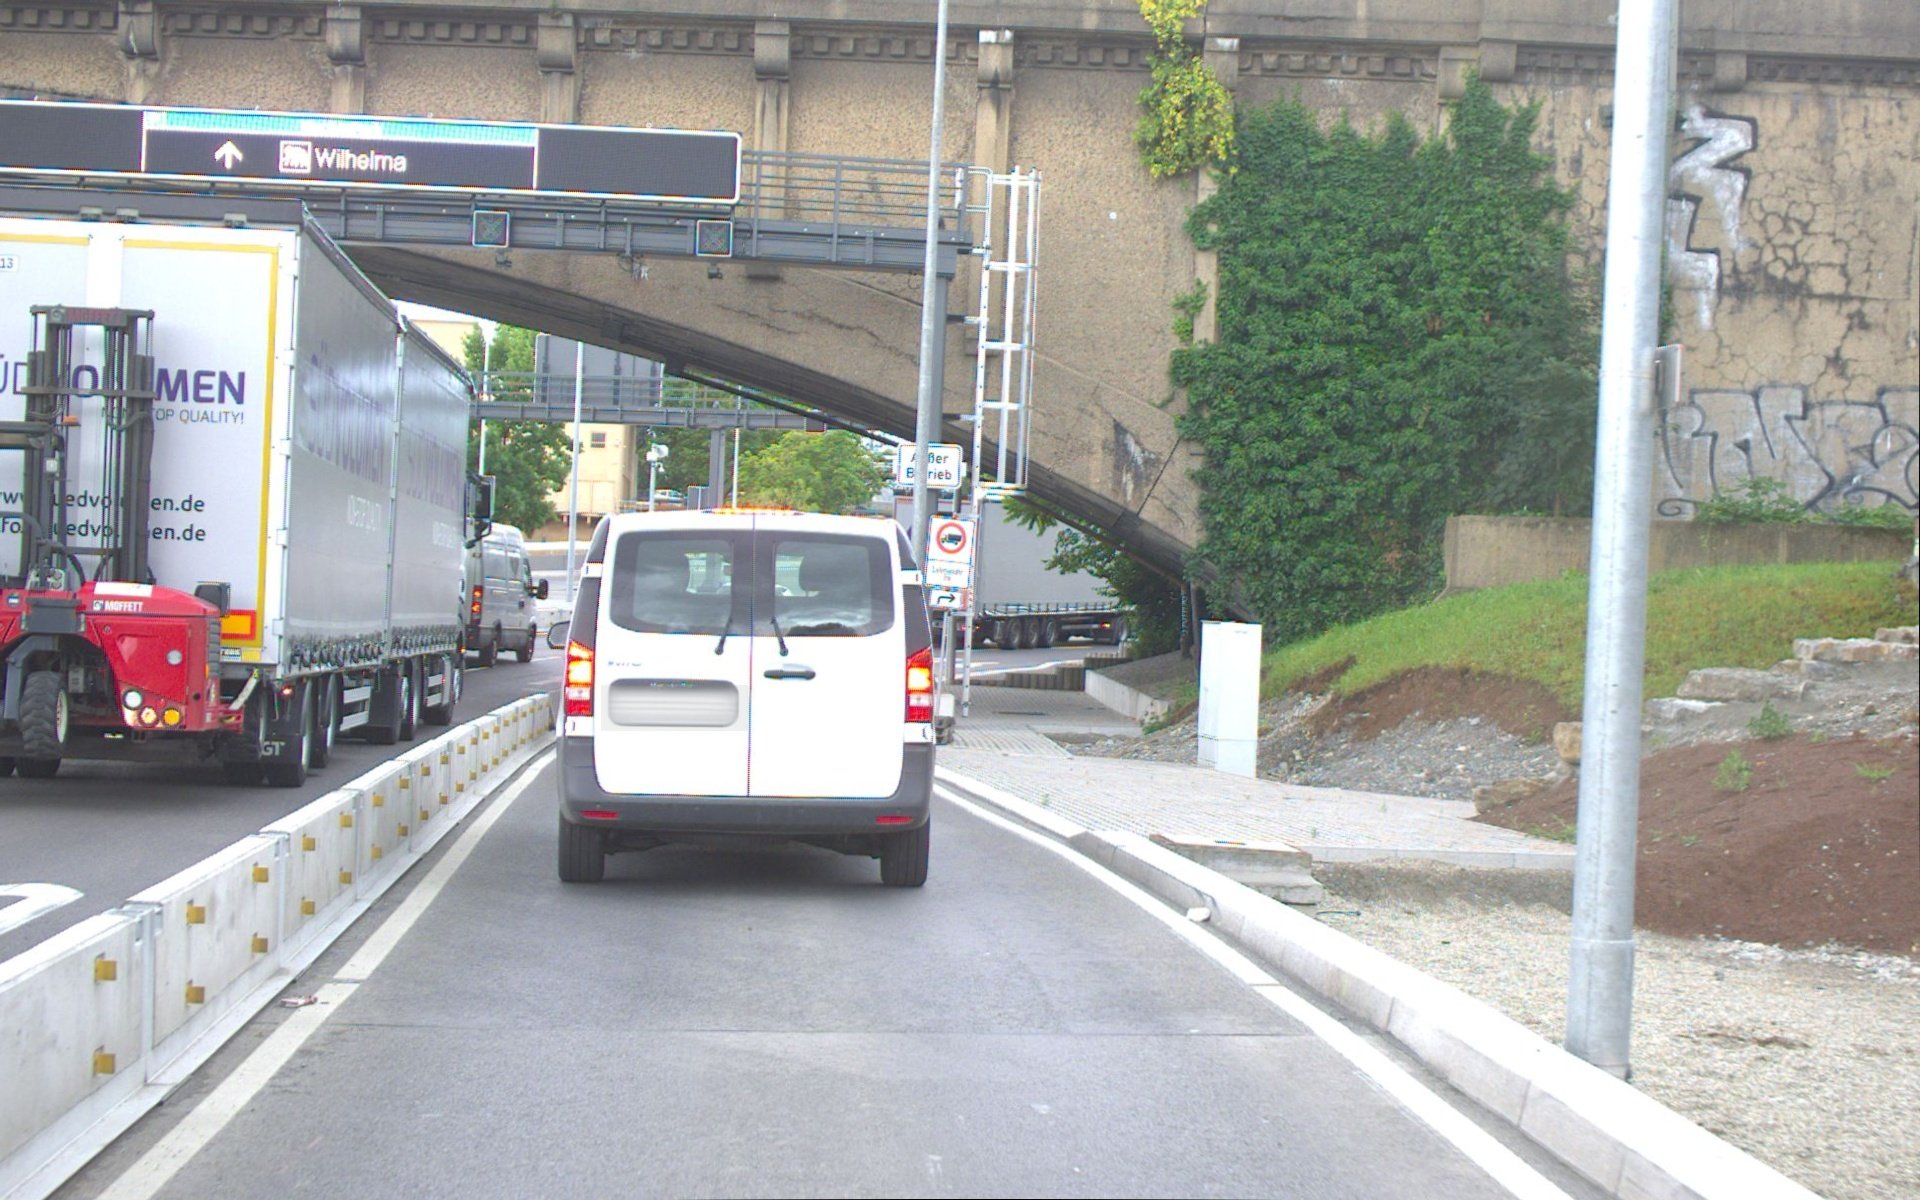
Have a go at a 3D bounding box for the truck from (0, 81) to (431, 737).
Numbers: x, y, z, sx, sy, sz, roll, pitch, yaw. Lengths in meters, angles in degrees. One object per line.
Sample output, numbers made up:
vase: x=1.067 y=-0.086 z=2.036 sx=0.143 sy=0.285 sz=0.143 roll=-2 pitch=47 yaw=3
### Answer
truck: x=-6.149 y=-1.196 z=26.520 sx=2.917 sy=4.003 sz=10.201 roll=3 pitch=-1 yaw=-3

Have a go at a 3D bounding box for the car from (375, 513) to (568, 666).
car: x=-8.882 y=-0.201 z=62.995 sx=1.994 sy=2.533 sz=5.172 roll=5 pitch=1 yaw=8

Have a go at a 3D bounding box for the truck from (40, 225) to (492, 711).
truck: x=-6.950 y=-1.142 z=36.300 sx=2.987 sy=4.162 sz=11.241 roll=3 pitch=-1 yaw=-4

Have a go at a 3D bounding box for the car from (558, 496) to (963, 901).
car: x=-1.132 y=0.464 z=18.689 sx=1.876 sy=1.884 sz=4.754 roll=1 pitch=0 yaw=-5

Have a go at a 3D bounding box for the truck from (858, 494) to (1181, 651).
truck: x=1.999 y=-0.620 z=95.825 sx=3.320 sy=3.796 sz=16.574 roll=5 pitch=1 yaw=21
